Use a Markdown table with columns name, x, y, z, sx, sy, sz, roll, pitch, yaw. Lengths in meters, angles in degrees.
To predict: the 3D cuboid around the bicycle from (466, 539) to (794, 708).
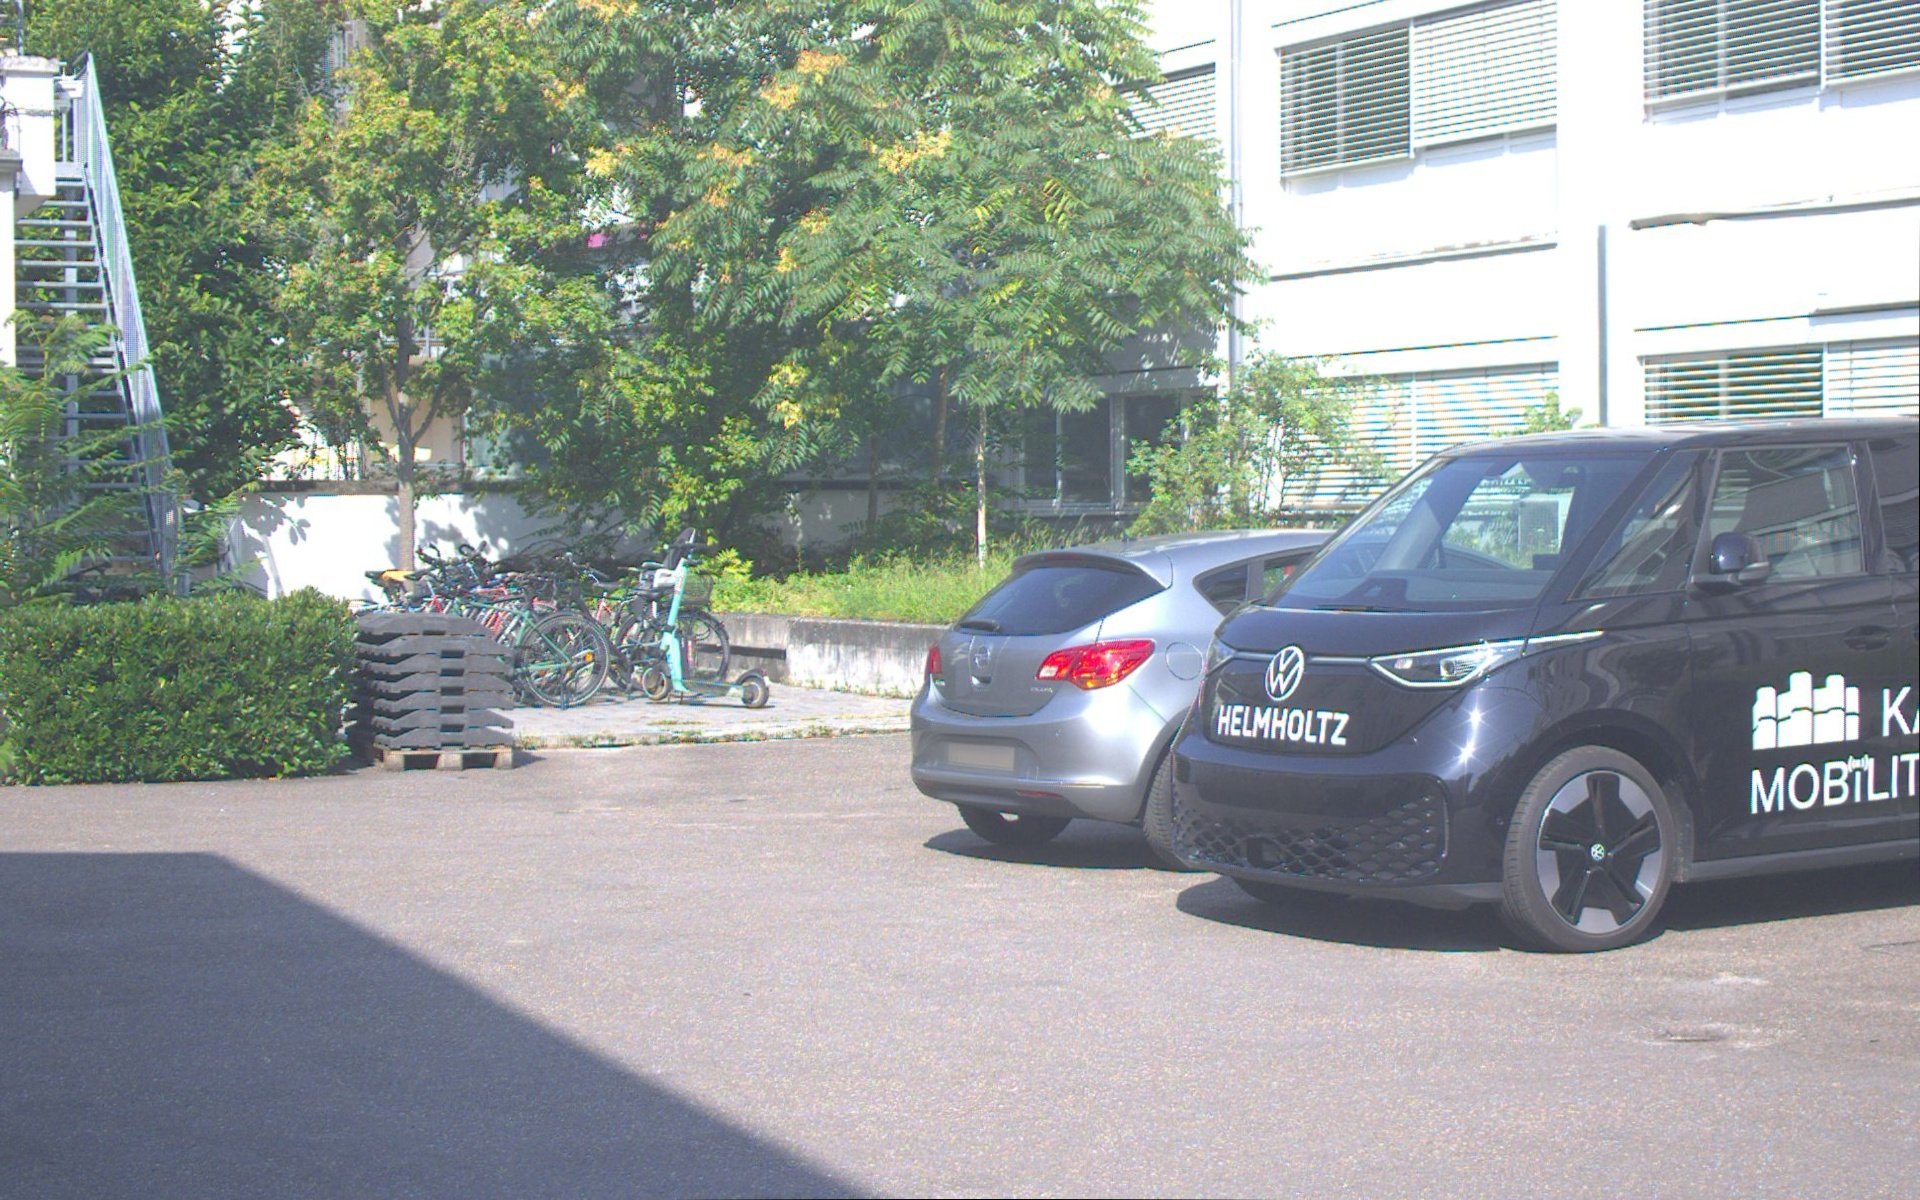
| name | x | y | z | sx | sy | sz | roll | pitch | yaw |
| --- | --- | --- | --- | --- | --- | --- | --- | --- | --- |
| bicycle | -2.489 | 0.168 | 26.000 | 2.410 | 1.242 | 0.526 | 0 | 1 | -21 |

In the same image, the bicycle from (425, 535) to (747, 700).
| name | x | y | z | sx | sy | sz | roll | pitch | yaw |
| --- | --- | --- | --- | --- | --- | --- | --- | --- | --- |
| bicycle | -2.884 | 0.127 | 26.567 | 2.410 | 1.242 | 0.526 | 0 | 1 | -21 |

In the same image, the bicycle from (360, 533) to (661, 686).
| name | x | y | z | sx | sy | sz | roll | pitch | yaw |
| --- | --- | --- | --- | --- | --- | --- | --- | --- | --- |
| bicycle | -3.720 | 0.072 | 28.525 | 2.410 | 1.242 | 0.526 | 0 | 1 | -21 |

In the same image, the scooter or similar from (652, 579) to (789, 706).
| name | x | y | z | sx | sy | sz | roll | pitch | yaw |
| --- | --- | --- | --- | --- | --- | --- | --- | --- | --- |
| scooter or similar | -1.806 | 0.315 | 25.890 | 0.998 | 0.921 | 0.360 | 1 | 1 | 31 |

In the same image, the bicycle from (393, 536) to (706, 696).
| name | x | y | z | sx | sy | sz | roll | pitch | yaw |
| --- | --- | --- | --- | --- | --- | --- | --- | --- | --- |
| bicycle | -3.255 | 0.119 | 27.310 | 2.410 | 1.242 | 0.526 | 0 | 1 | -21 |

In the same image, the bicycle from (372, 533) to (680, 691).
| name | x | y | z | sx | sy | sz | roll | pitch | yaw |
| --- | --- | --- | --- | --- | --- | --- | --- | --- | --- |
| bicycle | -3.510 | 0.090 | 27.875 | 2.410 | 1.242 | 0.526 | 0 | 1 | -22 |

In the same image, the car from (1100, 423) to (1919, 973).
| name | x | y | z | sx | sy | sz | roll | pitch | yaw |
| --- | --- | --- | --- | --- | --- | --- | --- | --- | --- |
| car | 2.892 | 0.255 | 13.504 | 4.335 | 1.852 | 1.915 | -2 | 2 | -31 |

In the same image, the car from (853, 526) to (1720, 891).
| name | x | y | z | sx | sy | sz | roll | pitch | yaw |
| --- | --- | --- | --- | --- | --- | --- | --- | --- | --- |
| car | 1.589 | 0.416 | 16.135 | 3.897 | 1.461 | 1.663 | -2 | 2 | -35 |

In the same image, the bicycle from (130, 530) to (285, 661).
| name | x | y | z | sx | sy | sz | roll | pitch | yaw |
| --- | --- | --- | --- | --- | --- | --- | --- | --- | --- |
| bicycle | -7.040 | -0.057 | 32.254 | 0.488 | 1.139 | 1.992 | 0 | 3 | 17 |

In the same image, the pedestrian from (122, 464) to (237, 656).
| name | x | y | z | sx | sy | sz | roll | pitch | yaw |
| --- | --- | --- | --- | --- | --- | --- | --- | --- | --- |
| pedestrian | -7.306 | -0.380 | 32.199 | 0.859 | 1.765 | 0.611 | 1 | 1 | 17 |
